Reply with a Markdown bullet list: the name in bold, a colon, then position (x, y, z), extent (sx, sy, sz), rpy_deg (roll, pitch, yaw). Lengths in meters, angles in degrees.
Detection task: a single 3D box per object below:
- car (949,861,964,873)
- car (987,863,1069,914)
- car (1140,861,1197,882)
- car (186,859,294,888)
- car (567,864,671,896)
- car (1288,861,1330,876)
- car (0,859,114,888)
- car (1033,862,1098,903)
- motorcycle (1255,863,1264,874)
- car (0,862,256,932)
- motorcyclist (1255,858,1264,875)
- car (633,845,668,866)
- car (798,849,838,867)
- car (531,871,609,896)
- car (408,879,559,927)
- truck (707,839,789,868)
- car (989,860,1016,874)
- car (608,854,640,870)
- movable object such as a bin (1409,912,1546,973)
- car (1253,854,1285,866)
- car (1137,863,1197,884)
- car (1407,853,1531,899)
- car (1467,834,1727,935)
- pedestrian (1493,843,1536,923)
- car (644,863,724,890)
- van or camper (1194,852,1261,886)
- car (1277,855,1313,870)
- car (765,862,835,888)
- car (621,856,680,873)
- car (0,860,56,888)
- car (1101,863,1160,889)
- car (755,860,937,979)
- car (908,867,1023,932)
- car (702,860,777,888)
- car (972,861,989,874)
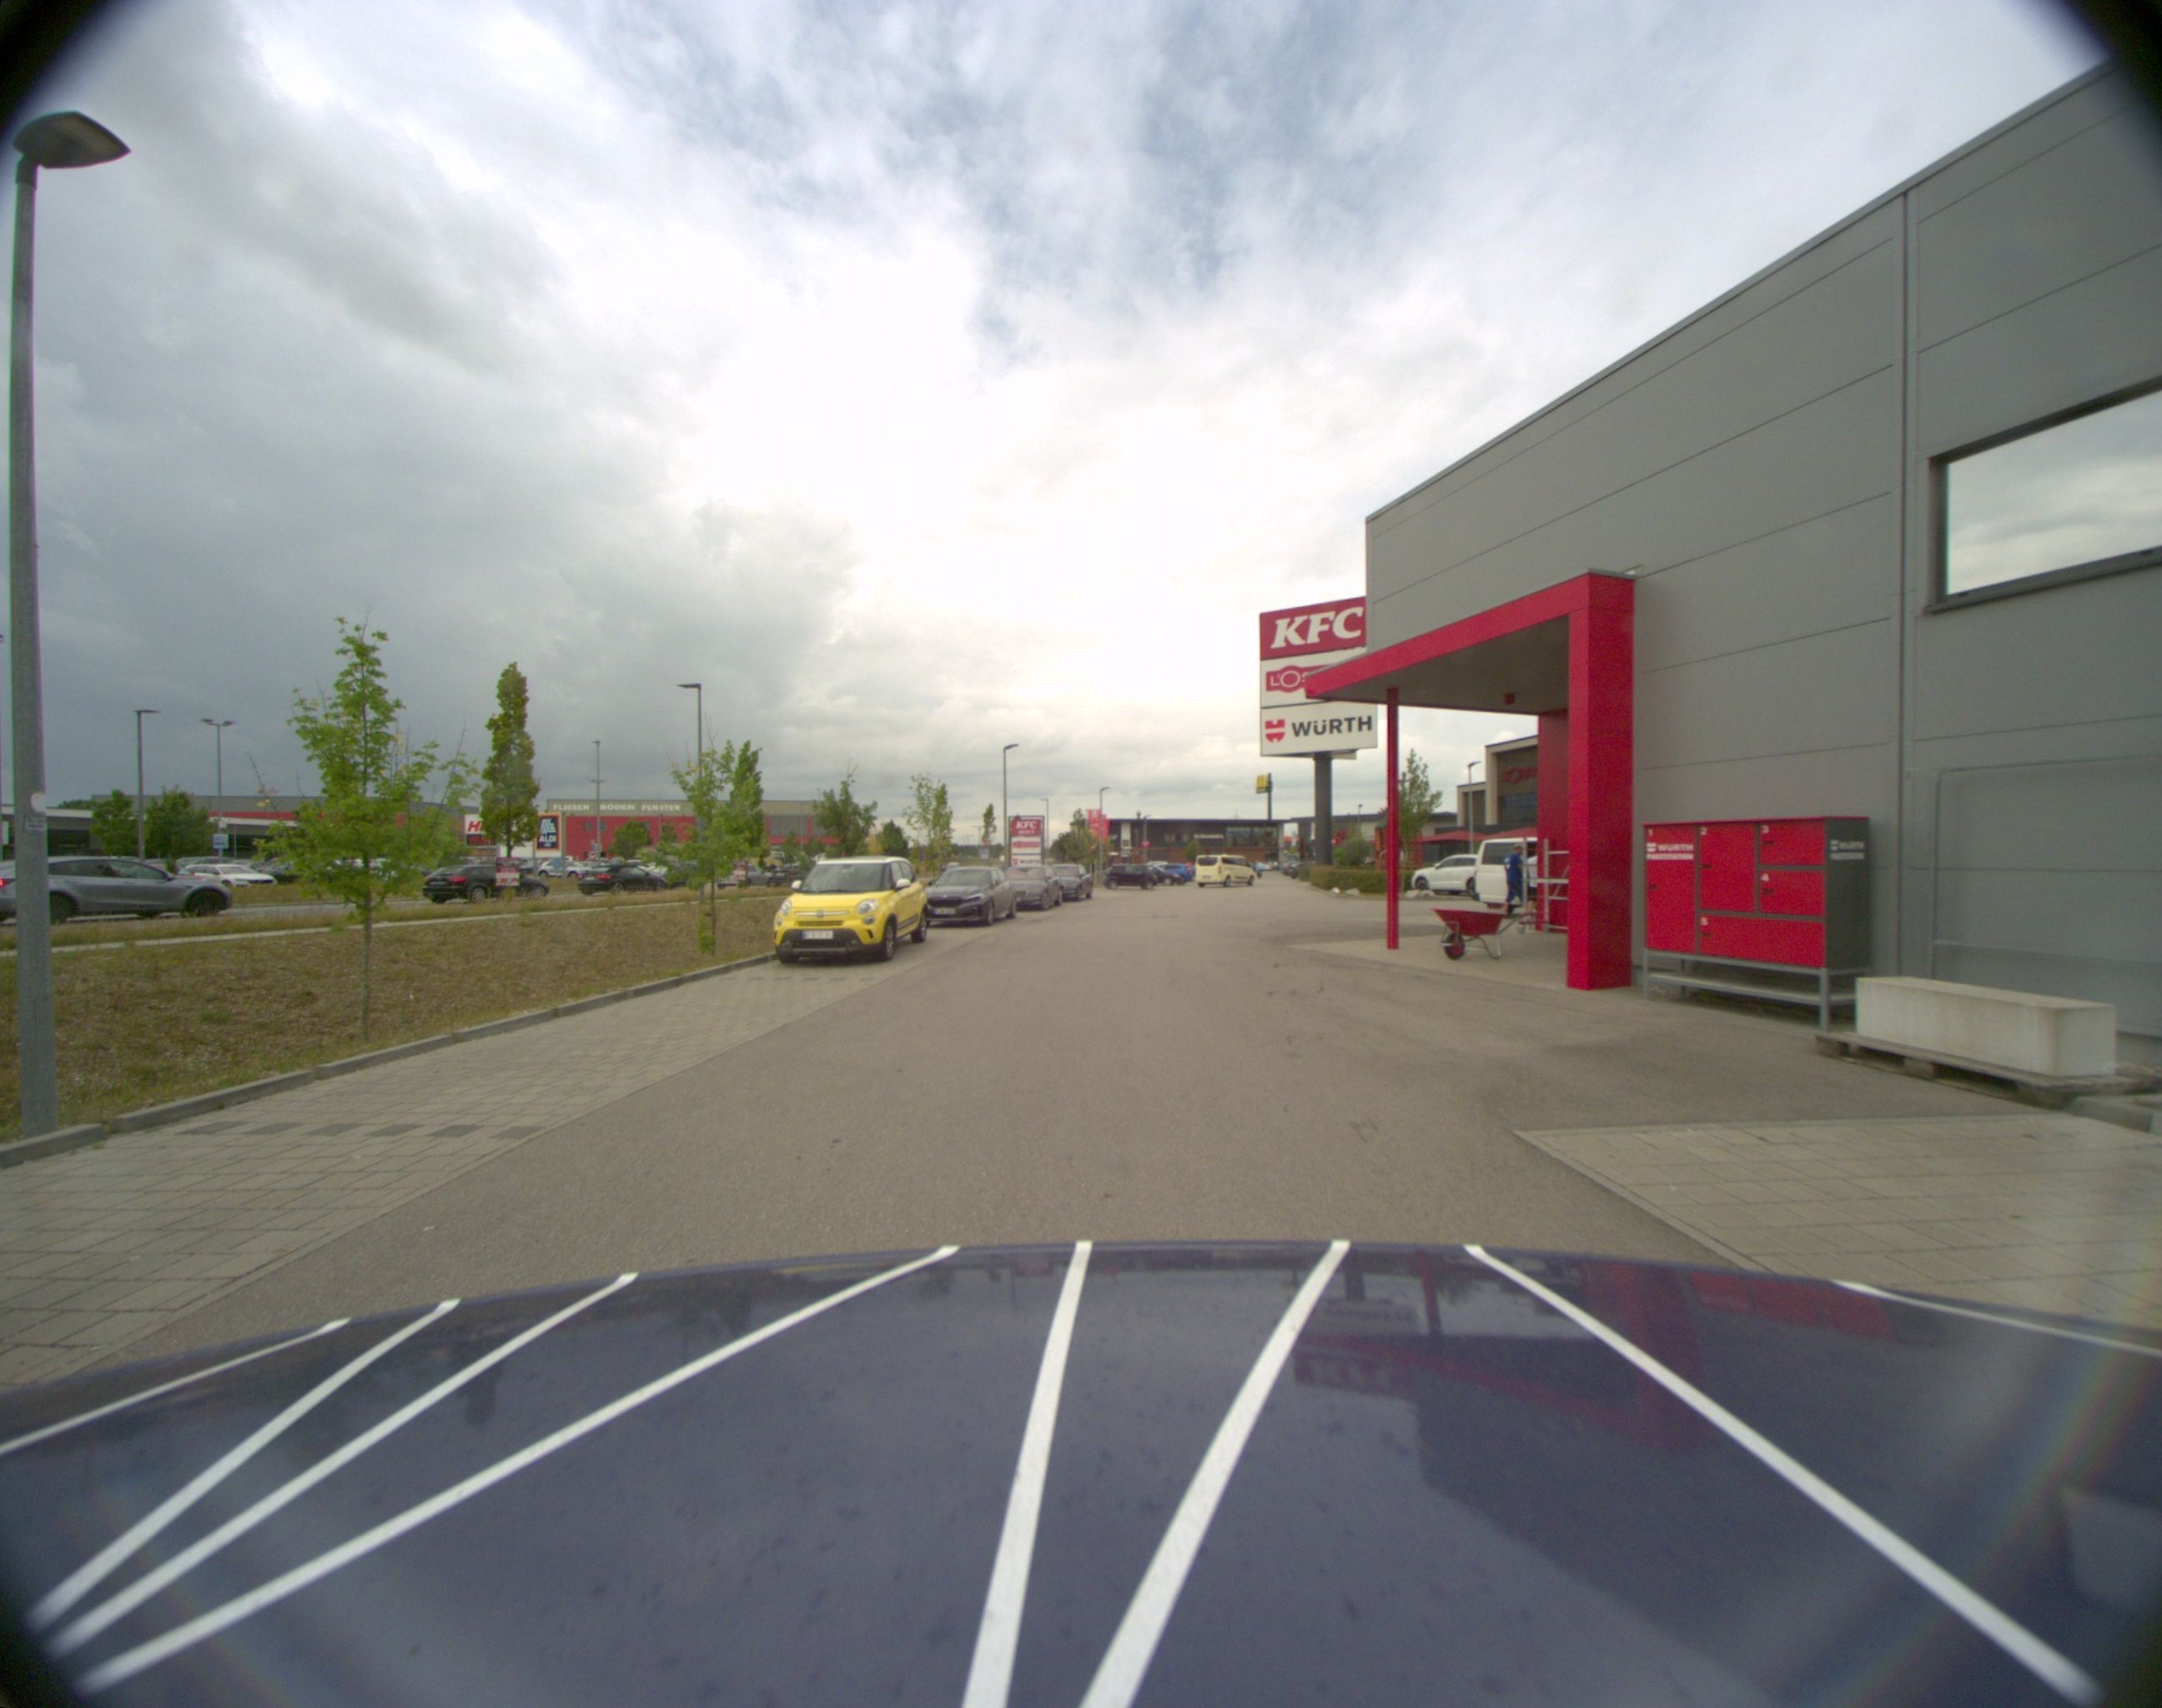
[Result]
- **car**: position (-17.605, 1.822, 107.334), extent (2.000, 1.667, 3.996), rpy_deg (0, 0, -10)
- **car**: position (-1.684, 1.099, 25.666), extent (1.750, 1.482, 4.636), rpy_deg (-1, 0, 9)
- **car**: position (6.386, 1.268, 55.229), extent (3.993, 1.412, 1.812), rpy_deg (-1, 0, 11)
- **car**: position (-43.404, 1.011, 39.248), extent (3.994, 1.467, 1.779), rpy_deg (0, 0, 7)
- **car**: position (-21.397, 1.160, 35.399), extent (1.906, 1.389, 4.004), rpy_deg (0, 0, 11)
- **car**: position (21.027, 1.345, 70.112), extent (3.440, 1.288, 1.500), rpy_deg (-1, 0, 2)
- **car**: position (-59.624, 1.099, 44.207), extent (1.877, 1.630, 3.997), rpy_deg (0, 0, -8)
- **car**: position (-0.548, 1.113, 30.761), extent (1.750, 1.482, 4.491), rpy_deg (-1, 0, 10)
- **motorcycle**: position (17.373, 1.404, 73.922), extent (0.815, 1.069, 2.152), rpy_deg (0, 0, 12)
- **car**: position (-24.443, 0.983, 19.099), extent (1.808, 1.499, 4.886), rpy_deg (0, 0, 6)
- **motorcyclist**: position (17.393, 1.171, 73.975), extent (0.753, 1.628, 1.039), rpy_deg (-1, 0, 12)
- **car**: position (-47.875, 0.153, 84.560), extent (2.026, 2.192, 4.344), rpy_deg (0, 1, -11)
- **car**: position (-33.252, 0.486, 96.037), extent (4.439, 2.110, 1.998), rpy_deg (-1, 0, -9)
- **car**: position (-33.052, 1.910, 49.223), extent (3.992, 1.521, 2.002), rpy_deg (-1, 0, 14)
- **car**: position (-22.293, 1.766, 28.584), extent (1.906, 1.559, 4.339), rpy_deg (0, 0, 8)
- **truck**: position (-36.202, -0.080, 82.956), extent (2.672, 2.928, 8.199), rpy_deg (0, 1, 30)
- **car**: position (-8.854, 1.426, 86.154), extent (1.997, 1.506, 4.373), rpy_deg (0, 0, 9)
- **car**: position (-50.690, 0.839, 84.323), extent (1.763, 1.644, 3.832), rpy_deg (0, 1, -11)
- **movable object such as a bin**: position (5.492, 1.204, 10.554), extent (1.586, 0.712, 0.802), rpy_deg (0, 0, -18)
- **car**: position (27.461, 0.905, 110.838), extent (3.989, 1.652, 2.004), rpy_deg (-1, 0, 41)
- **car**: position (5.969, 1.334, 52.658), extent (3.993, 1.412, 1.812), rpy_deg (-1, 0, 11)
- **car**: position (15.790, 0.840, 31.252), extent (1.759, 1.738, 4.735), rpy_deg (-1, 0, -16)
- **car**: position (11.751, 0.629, 17.771), extent (1.939, 2.002, 4.751), rpy_deg (-1, 0, -21)
- **pedestrian**: position (10.226, 0.670, 17.934), extent (0.589, 1.845, 0.624), rpy_deg (-1, 0, -23)
- **car**: position (-23.283, 1.303, 44.774), extent (1.788, 1.387, 4.374), rpy_deg (-1, 0, 10)
- **van or camper**: position (9.450, 0.915, 48.743), extent (1.854, 2.049, 5.245), rpy_deg (-1, 0, 40)
- **car**: position (27.389, 1.032, 97.506), extent (3.998, 1.827, 2.000), rpy_deg (-1, 0, -3)
- **car**: position (-15.727, 1.154, 42.734), extent (1.757, 1.346, 4.004), rpy_deg (0, 0, 12)
- **car**: position (-37.698, 0.890, 66.561), extent (3.995, 1.433, 2.001), rpy_deg (-1, 0, 5)
- **car**: position (-62.920, 1.149, 44.060), extent (1.877, 1.630, 3.997), rpy_deg (0, 0, -8)
- **car**: position (2.791, 1.224, 43.026), extent (3.125, 1.438, 1.506), rpy_deg (0, 0, -8)
- **car**: position (-3.828, 0.968, 13.185), extent (1.751, 1.673, 4.299), rpy_deg (-1, 0, 1)
- **car**: position (-2.797, 1.083, 19.449), extent (1.750, 1.407, 4.308), rpy_deg (-1, 0, 7)
- **car**: position (-19.438, 1.118, 43.421), extent (1.820, 1.486, 4.004), rpy_deg (0, 0, 13)
- **car**: position (-14.092, 1.829, 106.761), extent (1.906, 1.803, 4.000), rpy_deg (0, 0, 0)
